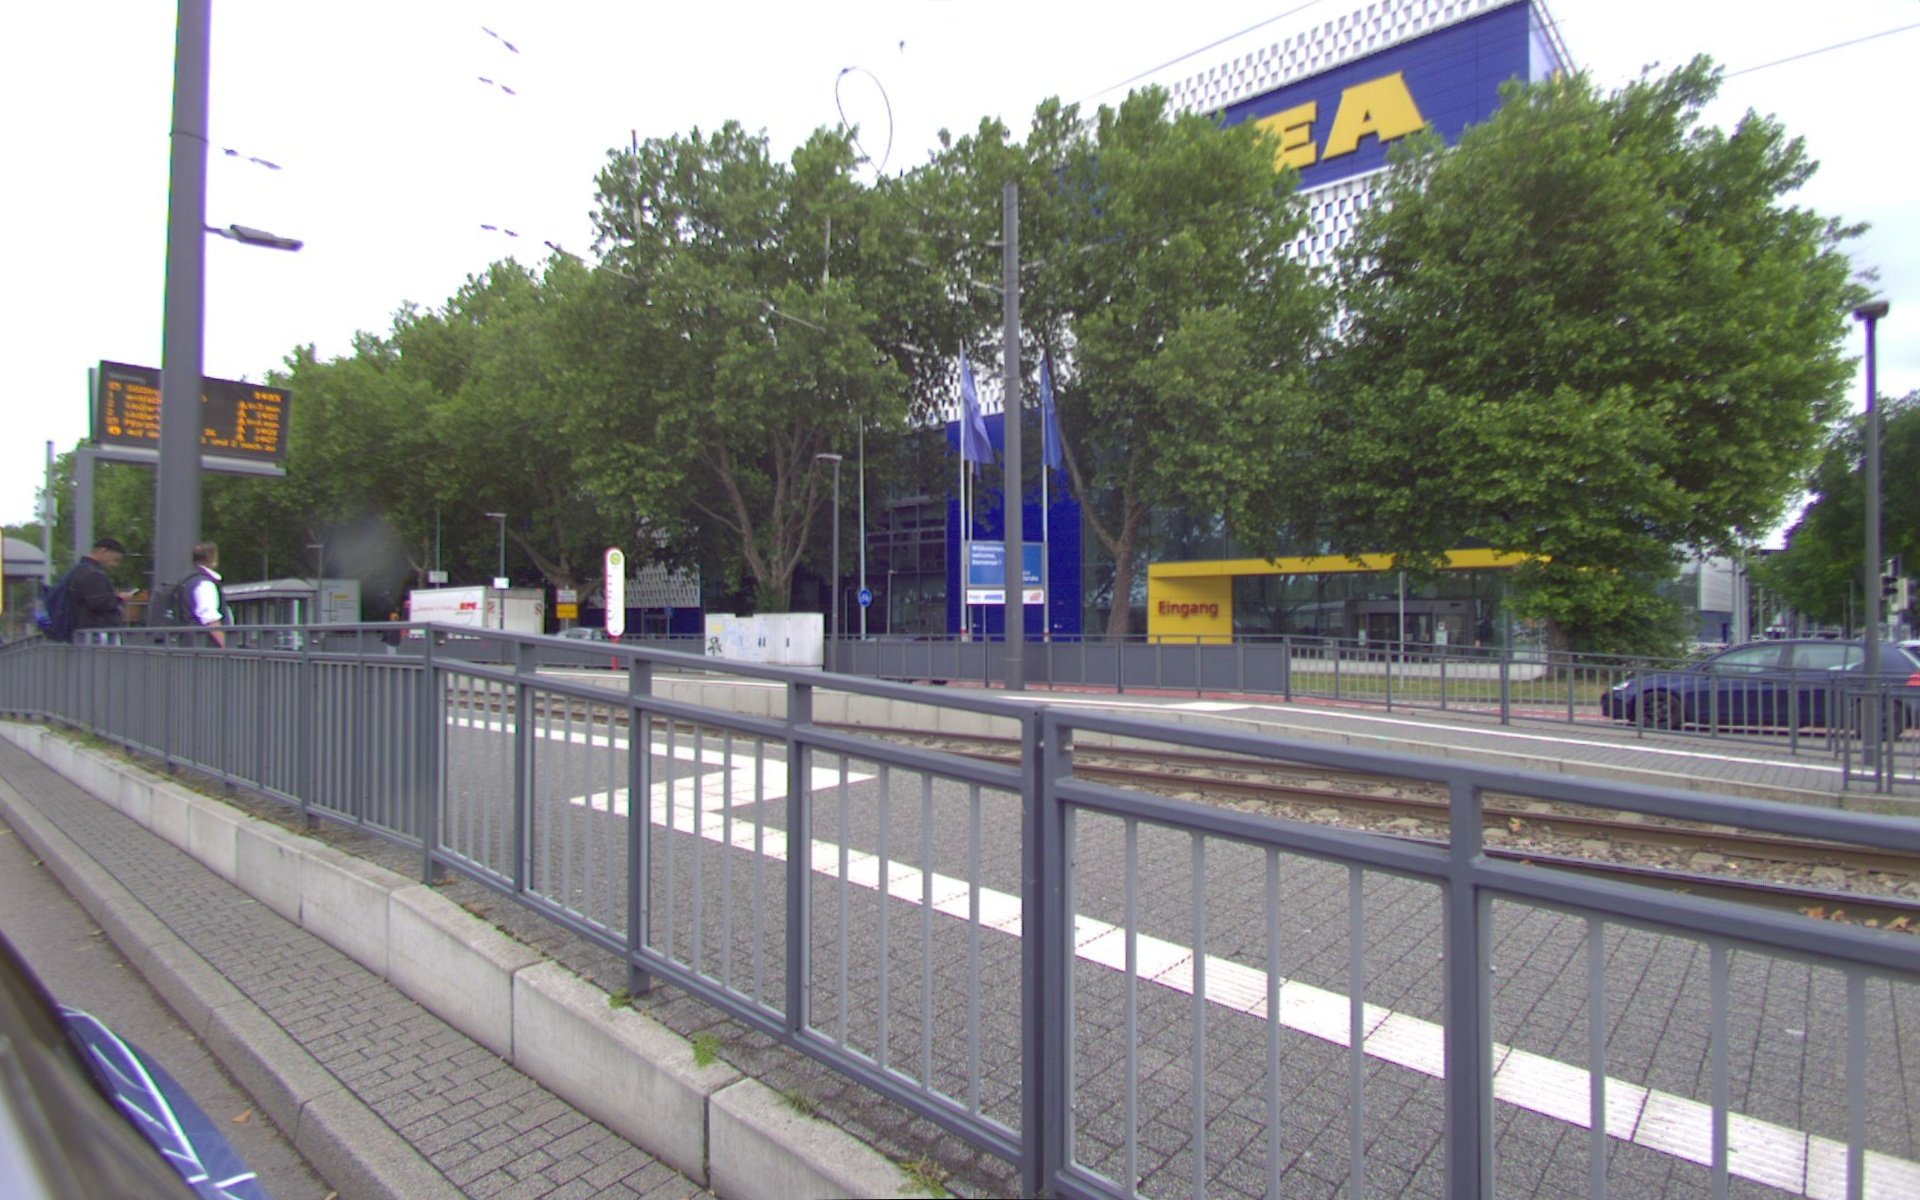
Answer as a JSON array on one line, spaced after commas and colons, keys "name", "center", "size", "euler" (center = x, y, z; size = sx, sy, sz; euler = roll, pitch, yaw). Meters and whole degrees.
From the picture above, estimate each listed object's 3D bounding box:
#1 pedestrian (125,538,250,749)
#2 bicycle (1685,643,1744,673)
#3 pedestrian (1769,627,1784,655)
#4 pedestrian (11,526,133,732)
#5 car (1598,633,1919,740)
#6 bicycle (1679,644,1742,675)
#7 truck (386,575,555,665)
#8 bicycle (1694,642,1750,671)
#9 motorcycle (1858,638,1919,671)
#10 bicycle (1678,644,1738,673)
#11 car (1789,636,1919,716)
[{"name": "pedestrian", "center": [-6.141, 0.325, 8.045], "size": [0.633, 1.571, 0.701], "euler": [-1, 0, 45]}, {"name": "bicycle", "center": [33.071, 2.532, 44.376], "size": [2.022, 1.165, 0.585], "euler": [1, -1, 42]}, {"name": "pedestrian", "center": [52.252, 2.625, 64.754], "size": [0.679, 1.759, 0.797], "euler": [0, -1, 43]}, {"name": "pedestrian", "center": [-7.978, 0.245, 9.096], "size": [0.587, 1.755, 0.776], "euler": [-1, 0, 45]}, {"name": "car", "center": [12.213, 1.244, 15.421], "size": [3.998, 1.429, 1.703], "euler": [-2, -4, 42]}, {"name": "bicycle", "center": [31.479, 2.485, 42.482], "size": [2.012, 1.165, 0.588], "euler": [1, -1, 27]}, {"name": "truck", "center": [-22.458, 1.033, 46.097], "size": [9.892, 3.691, 3.217], "euler": [-2, -4, 41]}, {"name": "bicycle", "center": [34.831, 2.573, 46.274], "size": [2.022, 1.165, 0.585], "euler": [1, -1, 42]}, {"name": "motorcycle", "center": [41.920, 2.454, 45.281], "size": [2.491, 1.365, 0.791], "euler": [2, 0, 31]}, {"name": "bicycle", "center": [32.295, 2.511, 43.687], "size": [2.022, 1.165, 0.585], "euler": [1, -1, 42]}, {"name": "car", "center": [20.469, 1.605, 21.362], "size": [4.348, 1.598, 1.893], "euler": [1, -2, -1]}]
